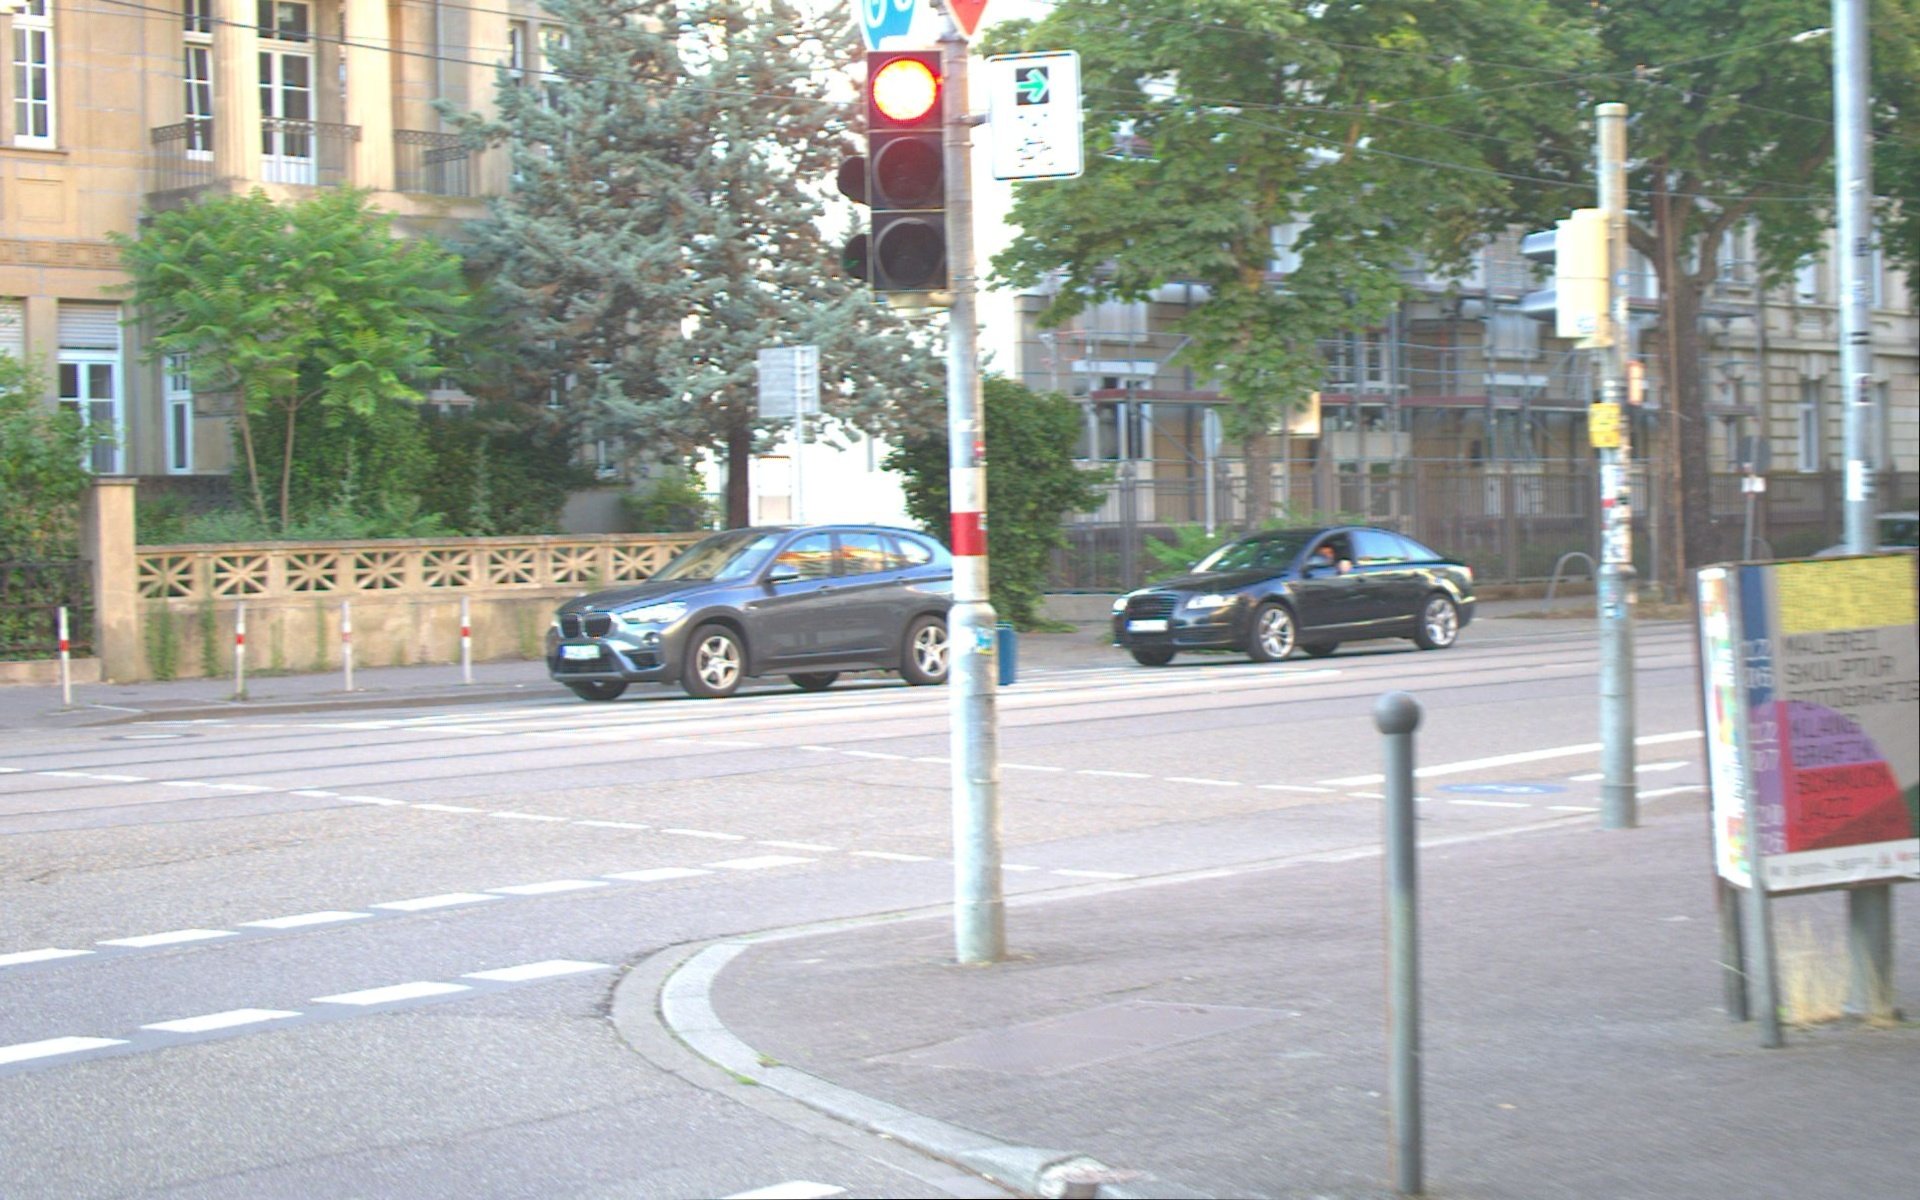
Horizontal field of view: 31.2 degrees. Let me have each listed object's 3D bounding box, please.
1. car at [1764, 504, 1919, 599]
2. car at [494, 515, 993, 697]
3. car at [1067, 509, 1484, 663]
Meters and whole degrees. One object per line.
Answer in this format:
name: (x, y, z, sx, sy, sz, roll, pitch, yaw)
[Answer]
car: (14.878, -0.809, 54.889, 2.009, 1.422, 4.621, 0, 2, 42)
car: (-1.951, 0.012, 31.987, 4.408, 1.504, 1.949, -3, 2, -44)
car: (3.477, -0.188, 37.299, 4.620, 1.504, 1.949, -3, 2, -44)
